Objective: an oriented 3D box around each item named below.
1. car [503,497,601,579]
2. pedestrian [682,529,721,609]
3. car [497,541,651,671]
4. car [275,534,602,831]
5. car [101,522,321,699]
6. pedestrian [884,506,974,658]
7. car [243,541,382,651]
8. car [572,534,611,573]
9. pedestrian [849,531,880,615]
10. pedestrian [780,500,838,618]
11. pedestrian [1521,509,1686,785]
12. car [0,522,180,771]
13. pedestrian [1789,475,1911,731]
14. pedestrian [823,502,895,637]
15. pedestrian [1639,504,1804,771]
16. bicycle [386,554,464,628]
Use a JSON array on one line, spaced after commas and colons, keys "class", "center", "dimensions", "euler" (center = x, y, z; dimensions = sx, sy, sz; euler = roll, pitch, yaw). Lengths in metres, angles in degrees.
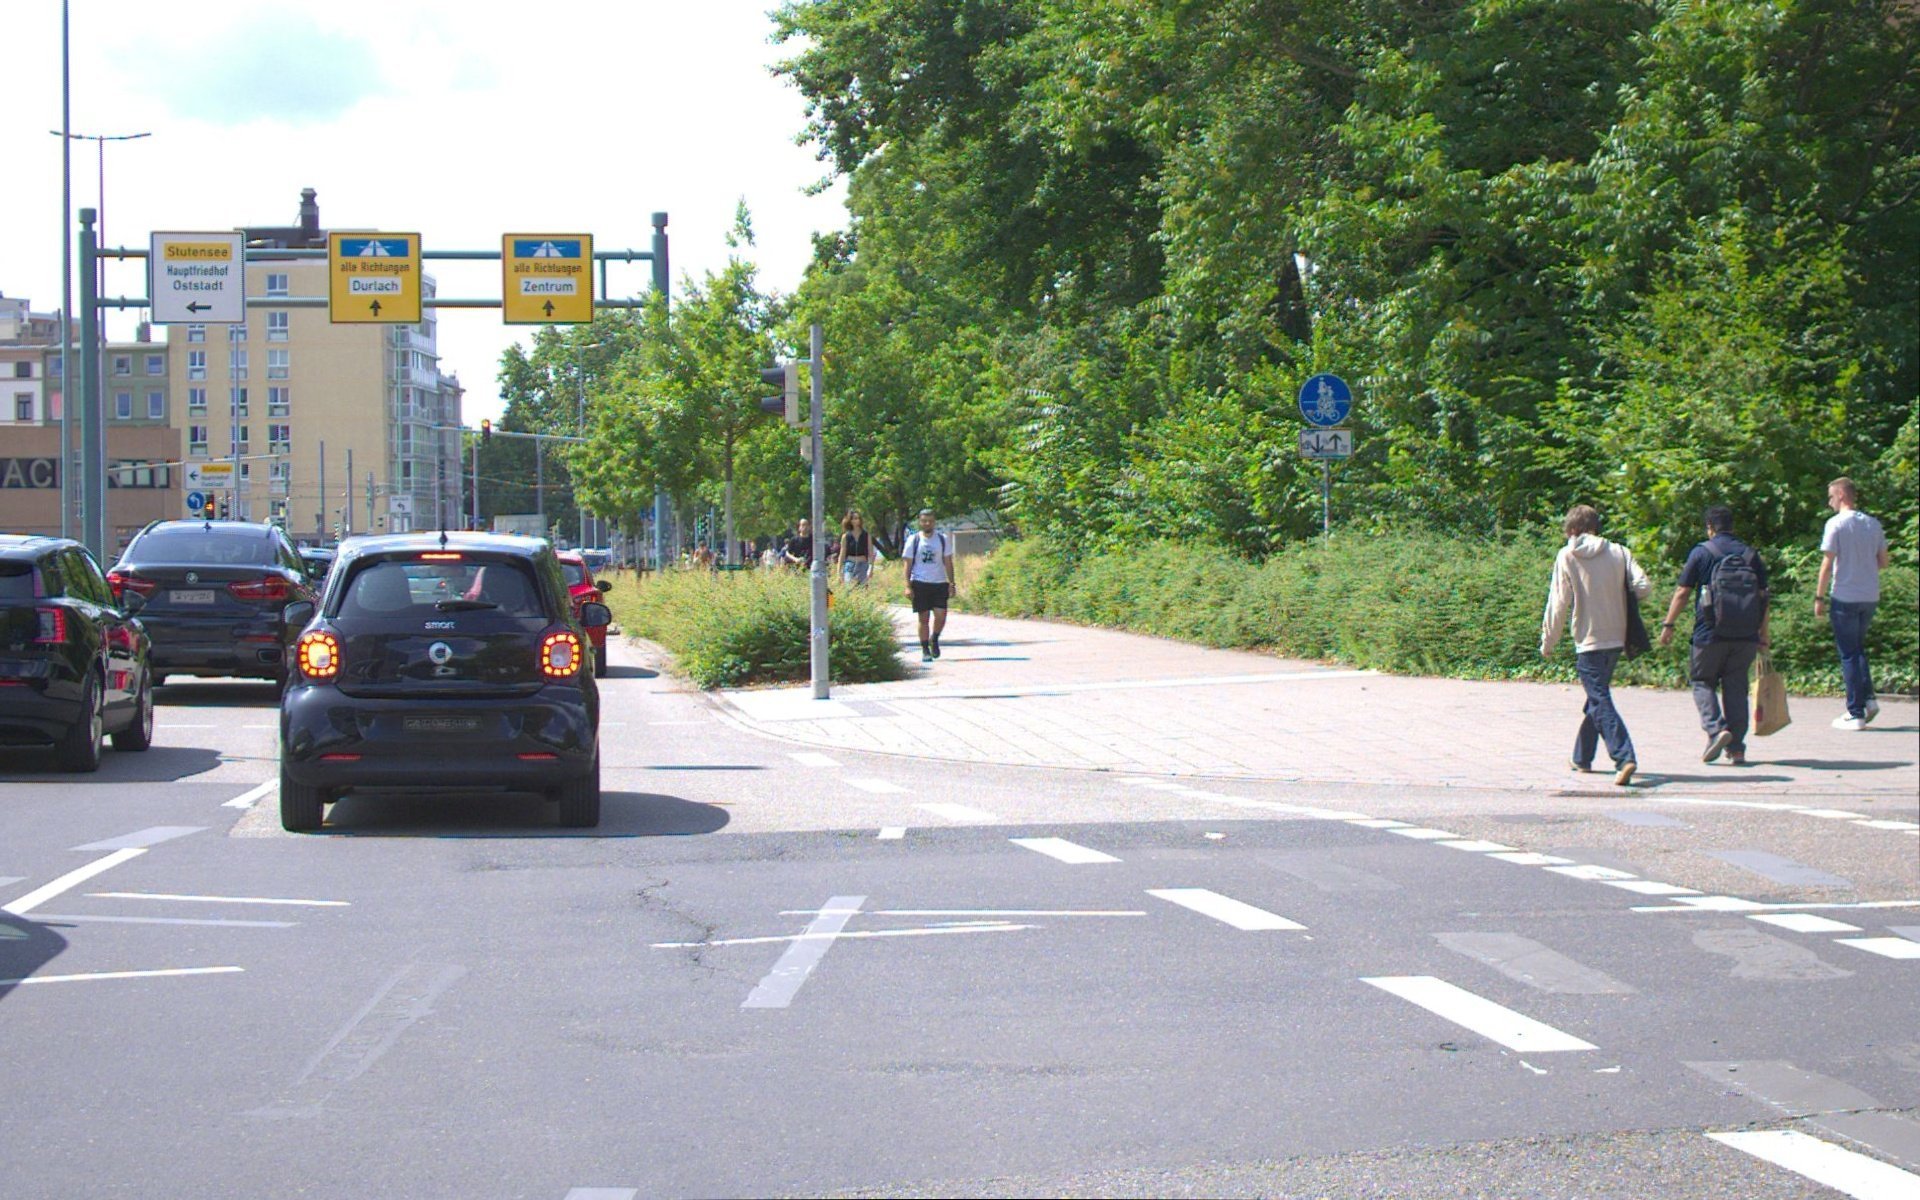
[{"class": "car", "center": [-7.406, -1.123, 62.238], "dimensions": [1.611, 1.406, 3.518], "euler": [1, 1, -9]}, {"class": "pedestrian", "center": [-6.327, -0.762, 84.086], "dimensions": [0.838, 1.962, 0.861], "euler": [-1, 1, -11]}, {"class": "car", "center": [-4.536, 0.037, 40.096], "dimensions": [1.611, 1.406, 3.518], "euler": [1, 1, -9]}, {"class": "car", "center": [-2.876, 0.403, 18.956], "dimensions": [1.611, 1.480, 3.518], "euler": [0, 0, -9]}, {"class": "car", "center": [-7.243, 0.064, 33.601], "dimensions": [1.826, 1.595, 4.394], "euler": [1, 1, -9]}, {"class": "pedestrian", "center": [-0.354, -0.208, 39.196], "dimensions": [0.851, 1.695, 0.931], "euler": [-2, 1, -9]}, {"class": "car", "center": [-8.156, -0.078, 43.479], "dimensions": [1.611, 1.320, 3.518], "euler": [0, 1, -9]}, {"class": "car", "center": [-19.030, -2.380, 177.760], "dimensions": [1.943, 1.956, 3.951], "euler": [1, 0, -5]}, {"class": "pedestrian", "center": [-2.165, -0.607, 78.025], "dimensions": [0.501, 1.884, 0.560], "euler": [1, 0, -22]}, {"class": "pedestrian", "center": [-2.518, -0.686, 57.436], "dimensions": [0.838, 1.962, 0.861], "euler": [-1, 1, -11]}, {"class": "pedestrian", "center": [4.068, 0.278, 21.809], "dimensions": [0.795, 1.698, 1.182], "euler": [0, 2, -1]}, {"class": "car", "center": [-6.646, 0.243, 23.541], "dimensions": [2.017, 1.525, 4.888], "euler": [1, 0, -7]}, {"class": "pedestrian", "center": [6.403, 0.013, 24.764], "dimensions": [0.671, 1.814, 0.703], "euler": [0, 1, -1]}, {"class": "pedestrian", "center": [-1.413, -0.428, 47.995], "dimensions": [0.838, 1.861, 1.019], "euler": [-1, 1, -11]}, {"class": "pedestrian", "center": [4.971, 0.222, 22.504], "dimensions": [0.795, 1.698, 1.182], "euler": [0, 2, -1]}, {"class": "bicycle", "center": [-15.080, -0.268, 96.759], "dimensions": [1.993, 2.007, 4.001], "euler": [1, 0, -11]}]
